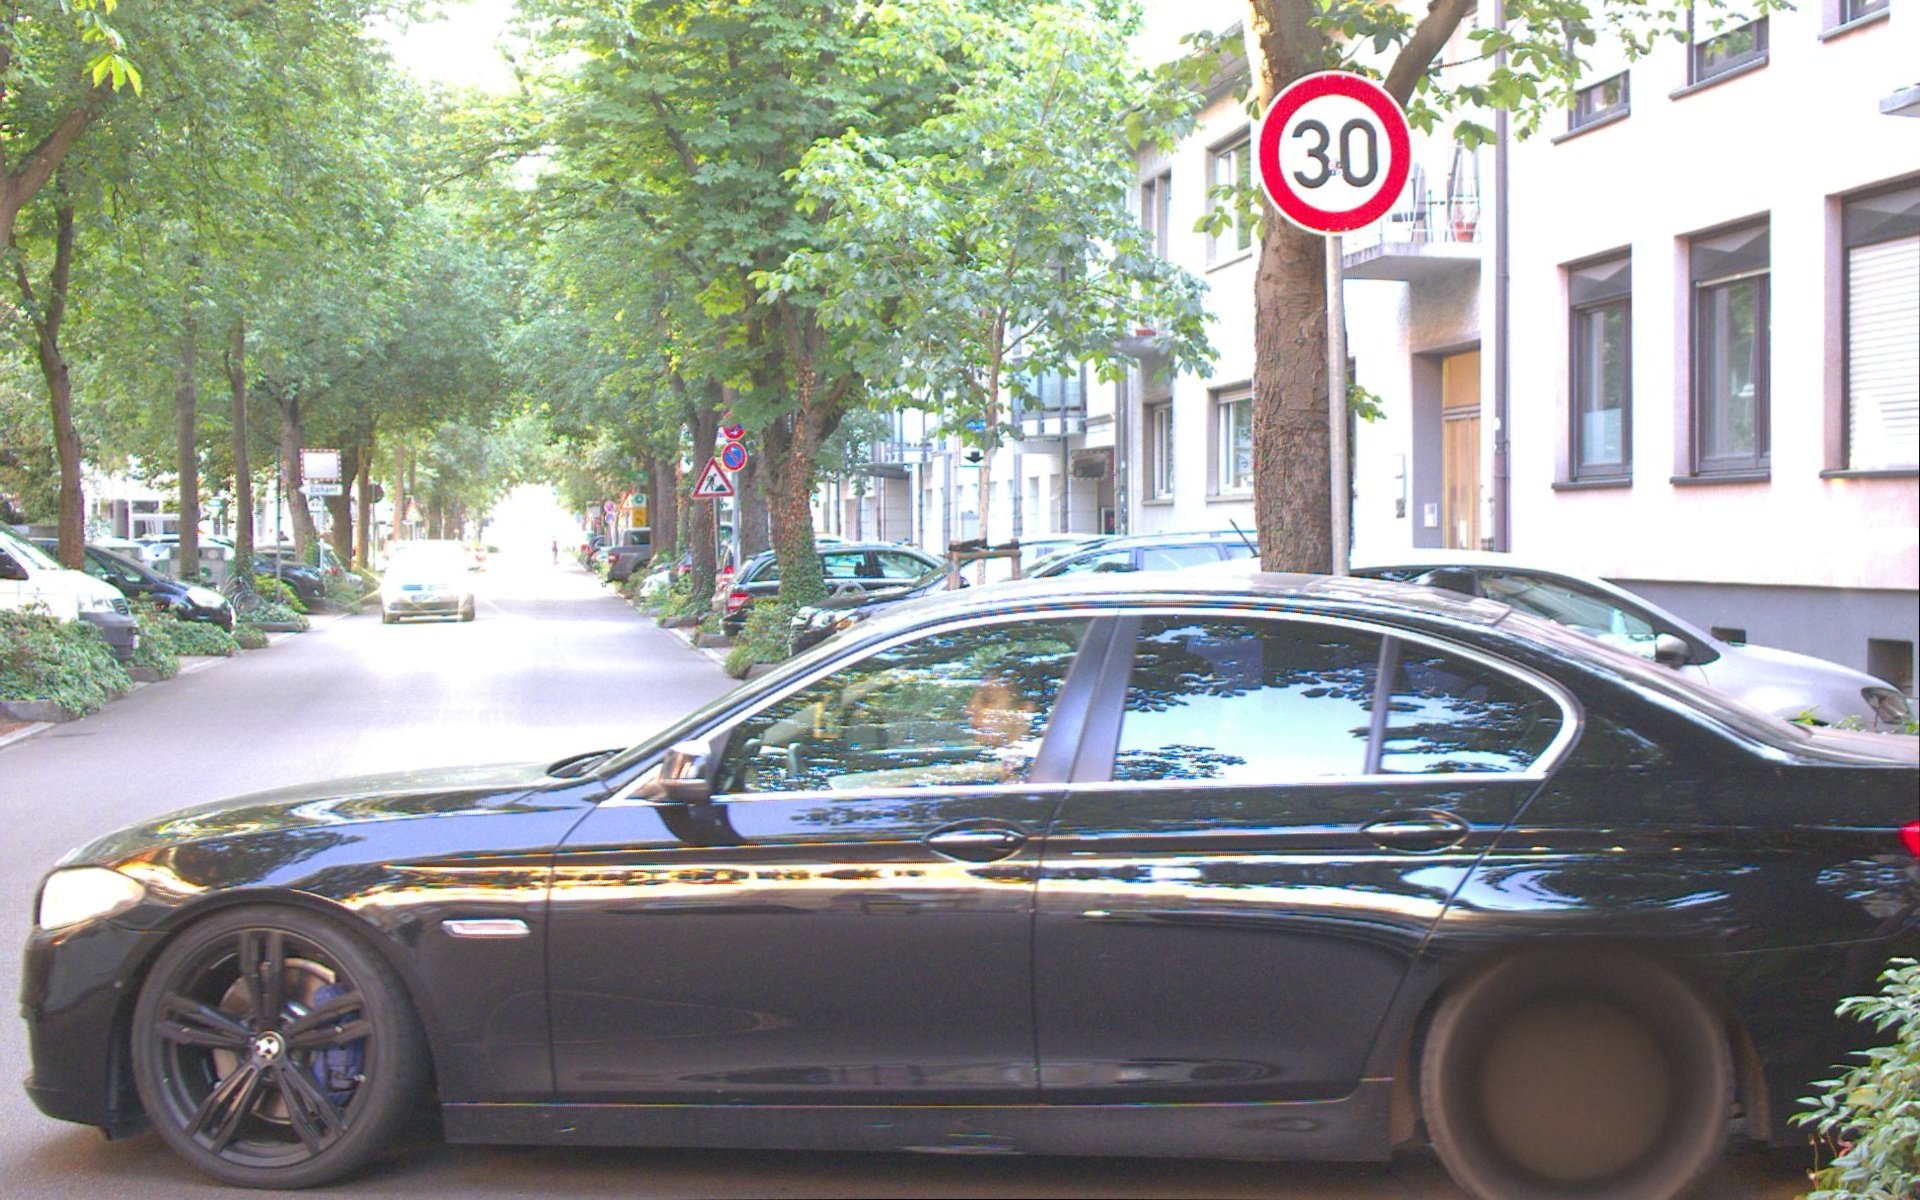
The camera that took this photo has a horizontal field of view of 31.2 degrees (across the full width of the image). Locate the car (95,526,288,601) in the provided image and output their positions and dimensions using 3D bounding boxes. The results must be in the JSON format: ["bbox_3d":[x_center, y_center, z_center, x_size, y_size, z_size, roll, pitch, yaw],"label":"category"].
[{"bbox_3d":[-16.979,-0.814,76.127,3.967,1.614,1.785,0,1,-5],"label":"car"}]

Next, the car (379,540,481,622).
[{"bbox_3d":[-10.481,-0.412,68.203,1.779,1.557,4.169,0,1,-6],"label":"car"}]

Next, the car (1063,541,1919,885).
[{"bbox_3d":[2.555,0.474,16.076,3.908,1.471,1.665,-1,1,-8],"label":"car"}]

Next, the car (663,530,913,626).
[{"bbox_3d":[-2.859,-0.378,56.824,3.967,1.522,1.785,-1,1,-8],"label":"car"}]

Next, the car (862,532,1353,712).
[{"bbox_3d":[1.229,0.161,29.677,3.967,1.471,1.785,-1,1,-8],"label":"car"}]

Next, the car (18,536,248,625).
[{"bbox_3d":[-15.476,-0.374,64.507,3.967,1.614,1.785,0,1,-5],"label":"car"}]

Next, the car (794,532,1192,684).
[{"bbox_3d":[0.311,0.063,36.150,3.967,1.522,1.785,-1,1,-7],"label":"car"}]

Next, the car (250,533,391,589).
[{"bbox_3d":[-19.010,-1.162,102.285,3.967,1.614,1.785,0,1,-5],"label":"car"}]

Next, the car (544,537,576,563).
[{"bbox_3d":[-24.121,-3.030,207.309,1.822,1.525,4.001,-1,1,-6],"label":"car"}]

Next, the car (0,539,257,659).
[{"bbox_3d":[-11.936,-0.032,48.042,3.967,1.614,1.785,0,1,-6],"label":"car"}]

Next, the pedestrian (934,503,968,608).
[{"bbox_3d":[-0.183,-0.866,66.324,0.589,2.007,0.669,0,1,-5],"label":"pedestrian"}]

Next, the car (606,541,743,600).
[{"bbox_3d":[-8.368,-0.878,100.775,3.967,1.678,1.785,0,1,-5],"label":"car"}]

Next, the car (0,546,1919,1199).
[{"bbox_3d":[0.063,0.618,8.395,4.747,1.475,1.799,0,1,9],"label":"car"}]

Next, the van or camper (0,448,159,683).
[{"bbox_3d":[-11.138,-0.378,37.044,4.662,2.470,2.000,0,1,-7],"label":"van or camper"}]

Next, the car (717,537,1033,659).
[{"bbox_3d":[-1.142,-0.048,44.961,3.967,1.522,1.785,-1,1,-7],"label":"car"}]
